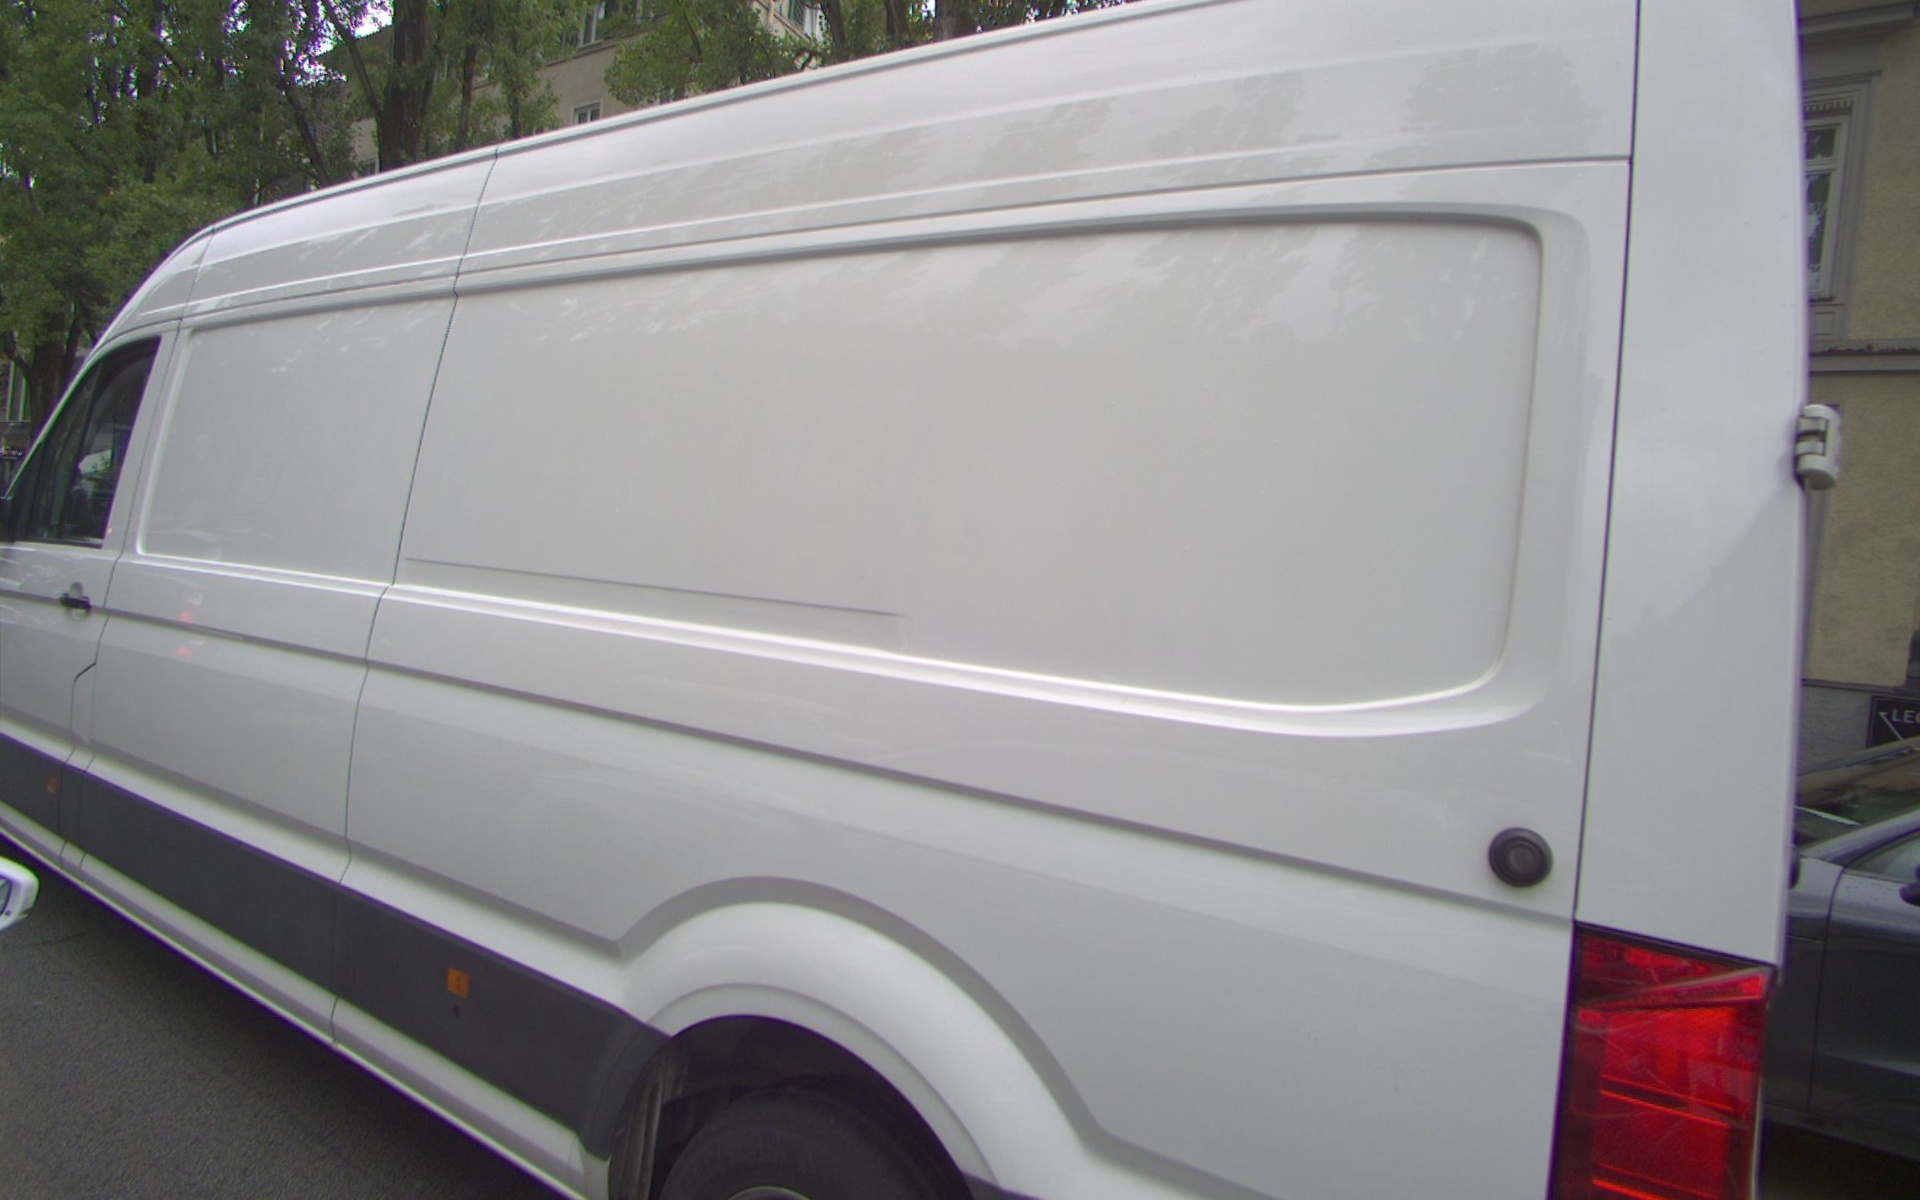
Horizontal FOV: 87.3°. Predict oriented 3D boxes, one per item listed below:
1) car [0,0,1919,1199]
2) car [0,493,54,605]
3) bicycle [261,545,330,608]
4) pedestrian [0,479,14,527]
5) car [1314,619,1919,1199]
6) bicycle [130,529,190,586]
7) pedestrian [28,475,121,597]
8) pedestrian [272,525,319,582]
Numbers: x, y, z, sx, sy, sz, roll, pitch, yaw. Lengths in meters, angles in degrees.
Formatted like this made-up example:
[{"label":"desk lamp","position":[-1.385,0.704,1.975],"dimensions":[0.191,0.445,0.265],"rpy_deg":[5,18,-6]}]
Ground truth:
[{"label":"car","position":[-1.412,0.098,3.328],"dimensions":[6.619,2.522,2.066],"rpy_deg":[7,0,32]},{"label":"car","position":[-14.881,-0.908,14.643],"dimensions":[3.465,1.510,1.543],"rpy_deg":[7,-1,32]},{"label":"bicycle","position":[-12.023,-0.429,18.201],"dimensions":[1.429,1.009,0.349],"rpy_deg":[6,2,28]},{"label":"pedestrian","position":[-35.275,-3.594,36.812],"dimensions":[0.745,1.707,0.674],"rpy_deg":[6,1,27]},{"label":"car","position":[3.736,1.191,3.439],"dimensions":[4.372,1.657,1.807],"rpy_deg":[7,-1,30]},{"label":"bicycle","position":[-15.816,-0.843,19.887],"dimensions":[1.429,1.009,0.349],"rpy_deg":[6,2,28]},{"label":"pedestrian","position":[-14.084,-1.017,16.003],"dimensions":[0.857,1.795,0.827],"rpy_deg":[7,1,37]},{"label":"pedestrian","position":[-17.083,-1.201,25.872],"dimensions":[0.787,1.340,0.639],"rpy_deg":[7,1,31]}]
